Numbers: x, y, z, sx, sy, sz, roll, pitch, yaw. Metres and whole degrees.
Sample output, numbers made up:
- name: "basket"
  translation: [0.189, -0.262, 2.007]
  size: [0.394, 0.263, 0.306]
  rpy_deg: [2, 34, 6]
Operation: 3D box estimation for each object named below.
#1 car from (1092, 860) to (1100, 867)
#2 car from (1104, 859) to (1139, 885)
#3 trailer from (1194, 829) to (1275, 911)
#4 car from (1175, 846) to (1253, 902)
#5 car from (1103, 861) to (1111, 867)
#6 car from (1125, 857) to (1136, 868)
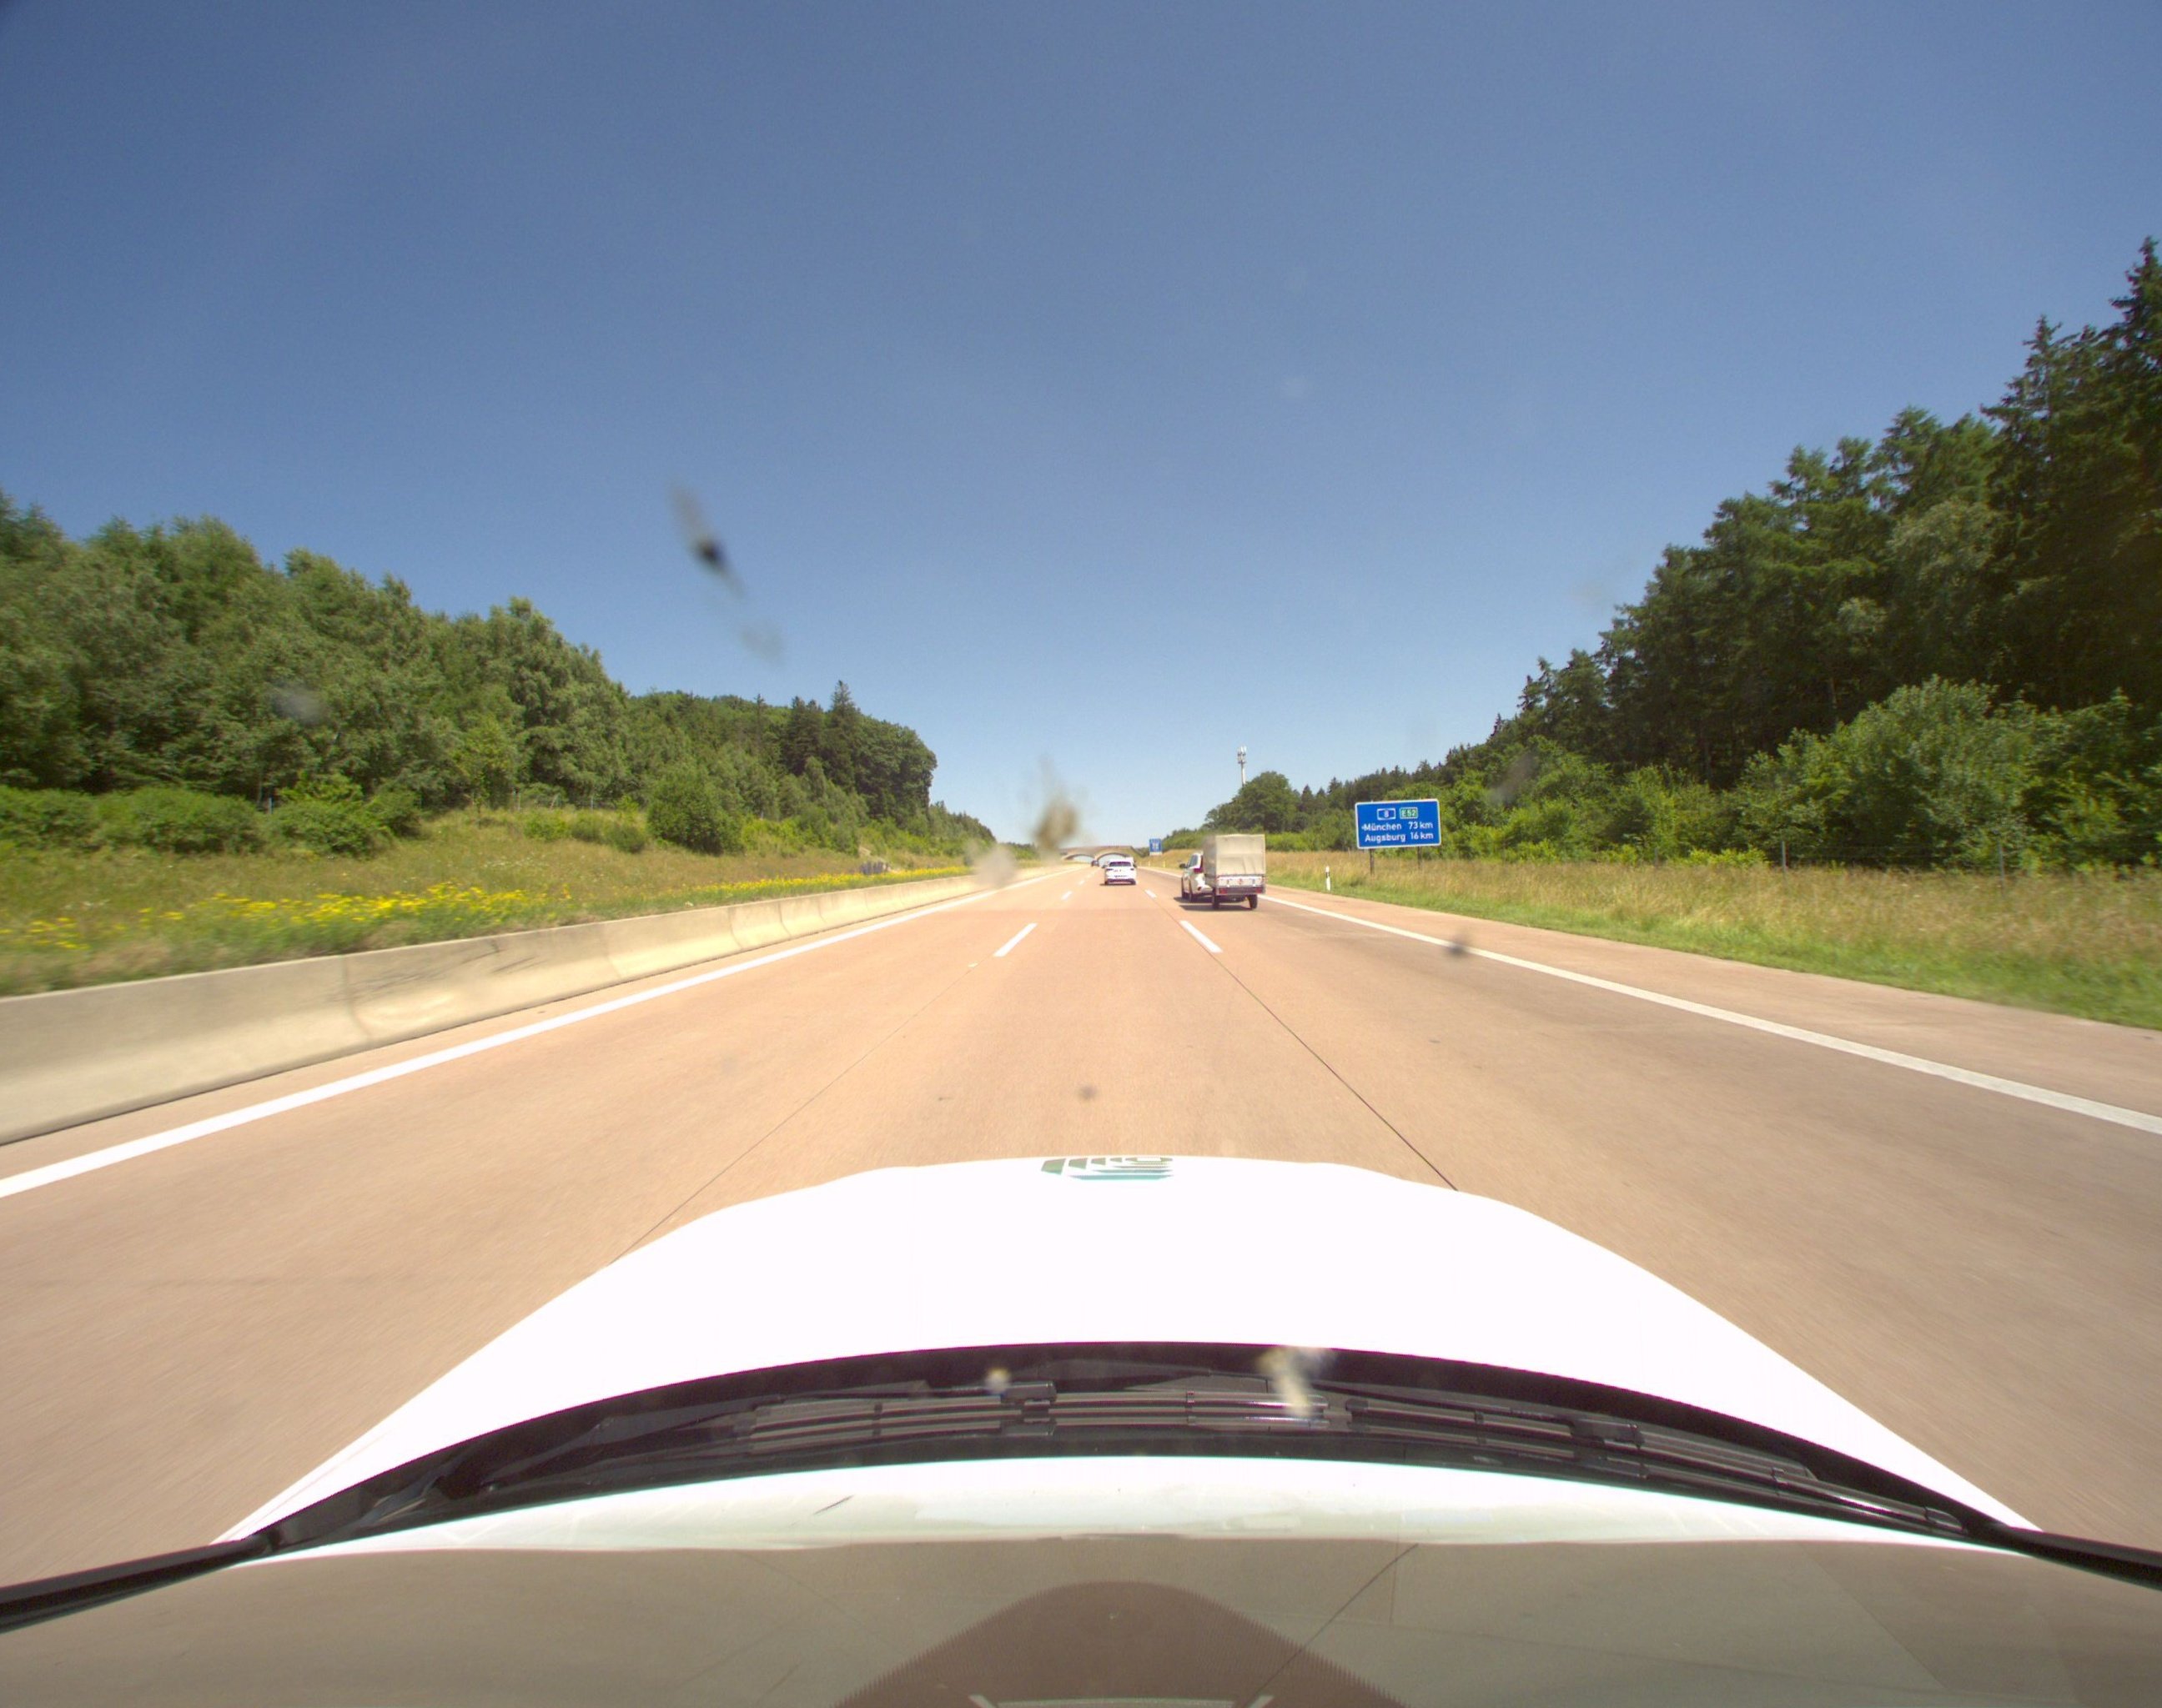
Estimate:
- name: "car"
  translation: [3.821, 2.445, 210.195]
  size: [1.882, 1.463, 4.004]
  rpy_deg: [-1, 0, 4]
- name: "car"
  translation: [2.232, 1.005, 46.059]
  size: [1.884, 1.398, 4.001]
  rpy_deg: [0, 0, 2]
- name: "trailer"
  translation: [4.377, 0.452, 23.770]
  size: [1.651, 2.164, 4.017]
  rpy_deg: [-1, -1, 1]
- name: "car"
  translation: [4.481, 0.658, 28.258]
  size: [1.884, 1.728, 5.186]
  rpy_deg: [-1, 0, 1]
- name: "car"
  translation: [6.239, 2.337, 193.239]
  size: [1.883, 1.463, 4.002]
  rpy_deg: [-1, 0, 2]
- name: "car"
  translation: [9.679, 1.645, 158.965]
  size: [2.101, 2.054, 4.004]
  rpy_deg: [-1, 0, 4]
